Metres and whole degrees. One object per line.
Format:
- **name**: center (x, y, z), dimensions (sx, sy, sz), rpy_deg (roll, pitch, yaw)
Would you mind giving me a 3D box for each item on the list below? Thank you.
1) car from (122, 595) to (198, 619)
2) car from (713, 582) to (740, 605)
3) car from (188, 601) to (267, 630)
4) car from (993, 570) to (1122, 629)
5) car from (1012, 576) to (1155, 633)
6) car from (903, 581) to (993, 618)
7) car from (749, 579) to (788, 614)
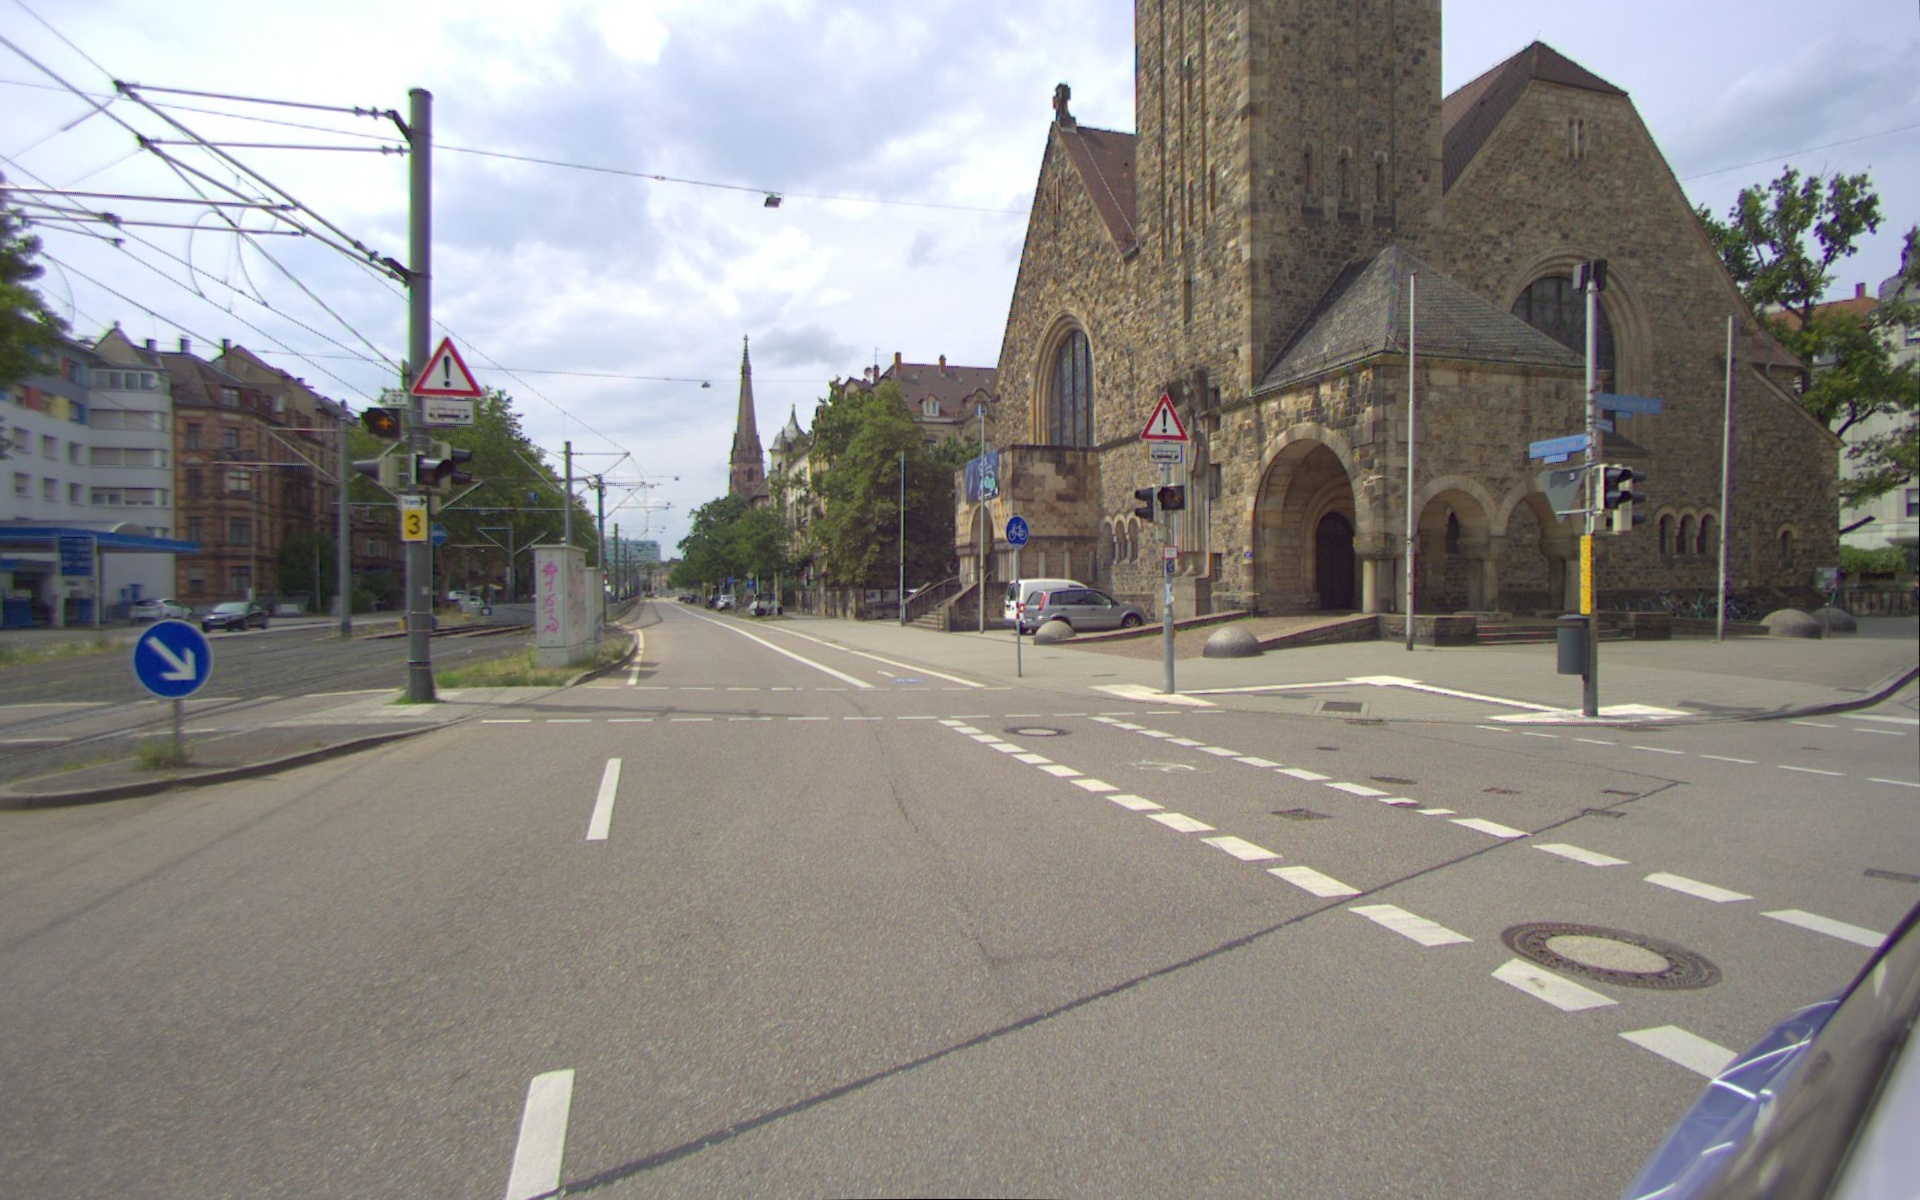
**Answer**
- **car**: center (-44.042, 0.349, 55.821), dimensions (1.958, 1.282, 4.008), rpy_deg (0, 0, -16)
- **car**: center (-21.398, -0.649, 92.767), dimensions (1.958, 2.039, 4.008), rpy_deg (-1, 1, -19)
- **car**: center (-34.726, 0.707, 48.080), dimensions (1.958, 1.282, 4.008), rpy_deg (0, 0, -19)
- **car**: center (3.301, -0.045, 34.417), dimensions (3.871, 1.905, 2.004), rpy_deg (-1, 1, -17)
- **car**: center (3.822, 0.106, 31.533), dimensions (3.916, 1.671, 2.004), rpy_deg (-1, 1, -17)
- **car**: center (-0.598, -0.058, 48.264), dimensions (3.871, 1.661, 2.004), rpy_deg (-1, 1, -17)
- **car**: center (-11.909, -0.235, 62.625), dimensions (1.958, 2.039, 4.009), rpy_deg (-1, 1, -17)
